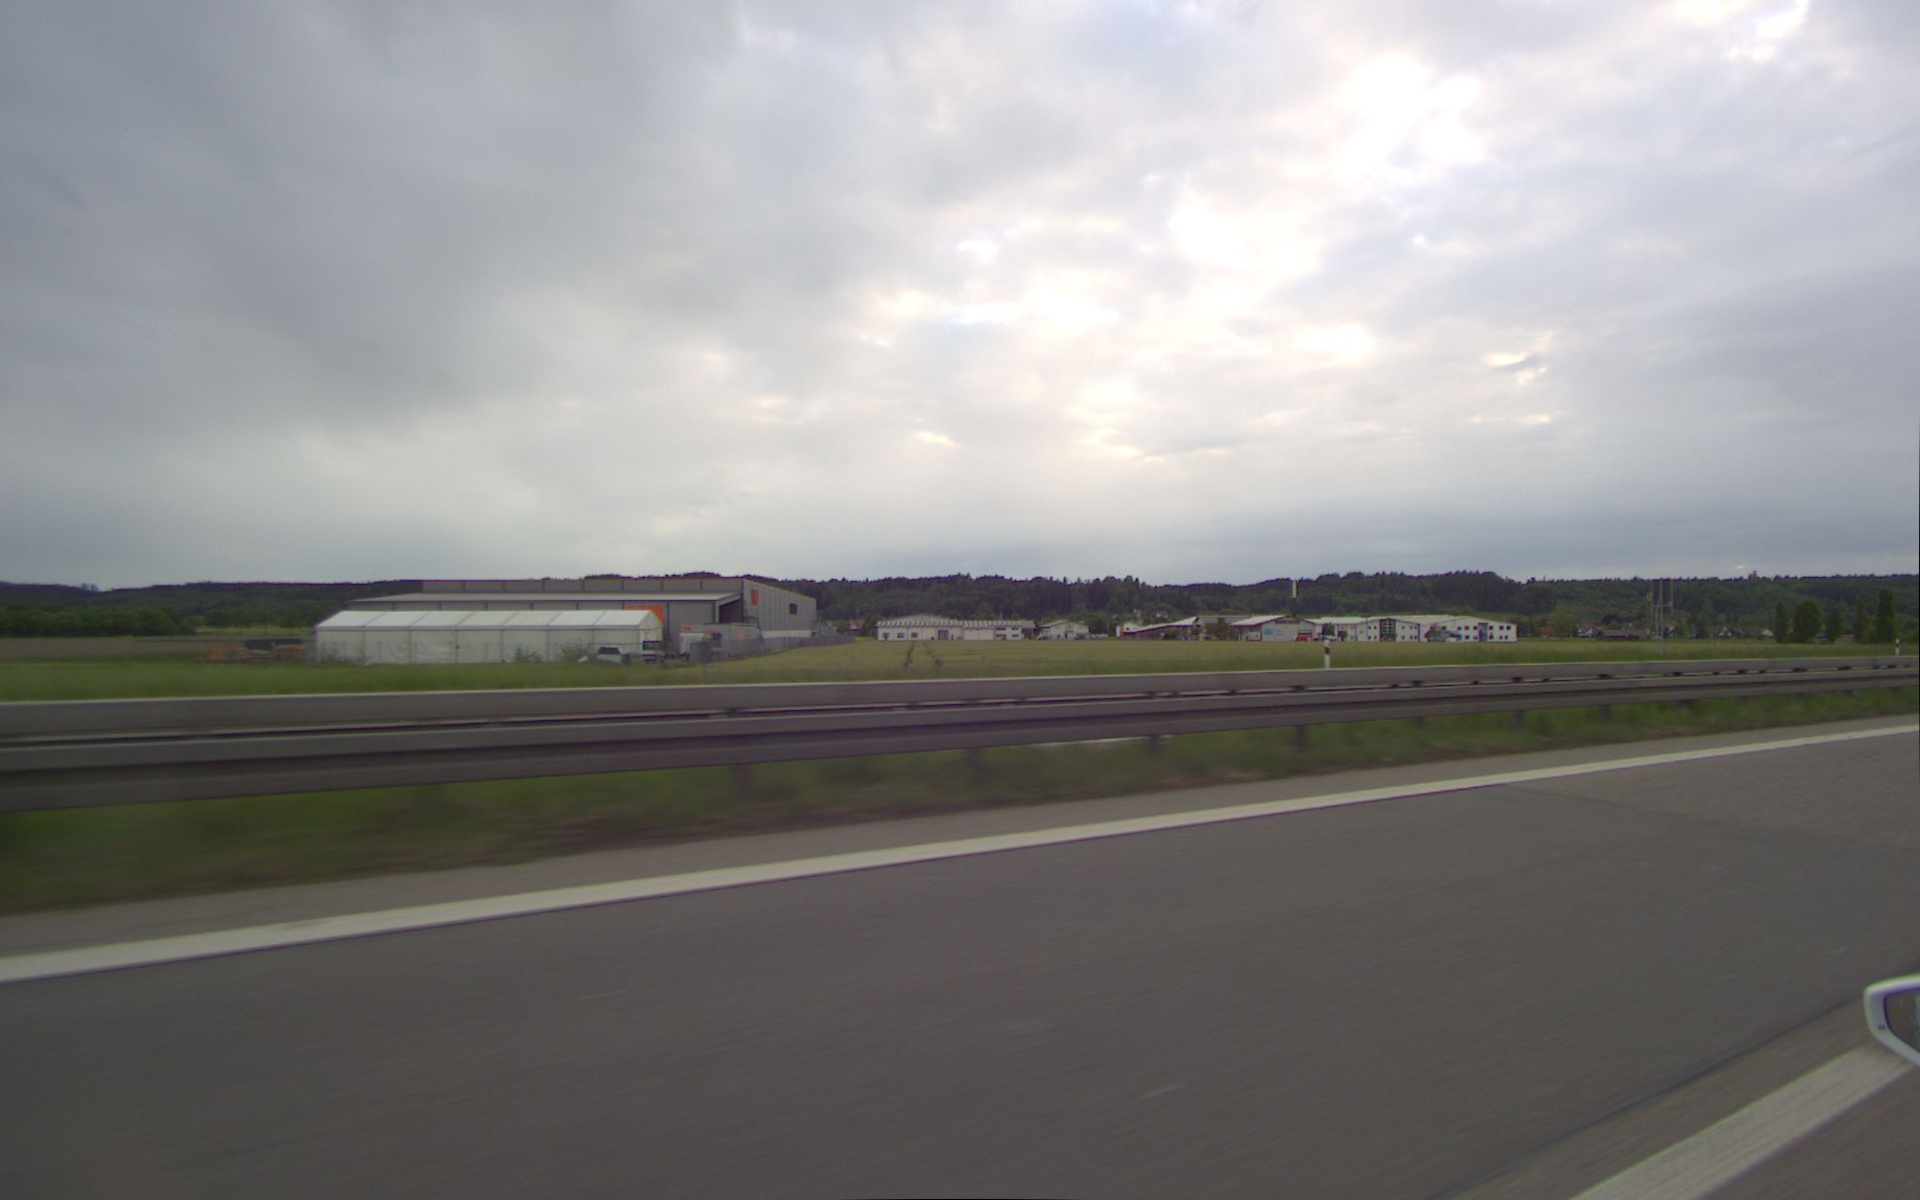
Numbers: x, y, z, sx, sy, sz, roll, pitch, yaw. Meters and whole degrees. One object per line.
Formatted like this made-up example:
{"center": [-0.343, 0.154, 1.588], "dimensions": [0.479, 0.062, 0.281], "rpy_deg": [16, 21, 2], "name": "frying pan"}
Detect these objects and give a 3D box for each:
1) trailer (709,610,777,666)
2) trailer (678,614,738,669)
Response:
{"center": [-21.867, 3.989, 102.651], "dimensions": [3.500, 5.202, 17.037], "rpy_deg": [1, -3, -1], "name": "trailer"}
{"center": [-25.818, 4.305, 103.630], "dimensions": [3.681, 5.328, 10.084], "rpy_deg": [1, -3, -1], "name": "trailer"}
